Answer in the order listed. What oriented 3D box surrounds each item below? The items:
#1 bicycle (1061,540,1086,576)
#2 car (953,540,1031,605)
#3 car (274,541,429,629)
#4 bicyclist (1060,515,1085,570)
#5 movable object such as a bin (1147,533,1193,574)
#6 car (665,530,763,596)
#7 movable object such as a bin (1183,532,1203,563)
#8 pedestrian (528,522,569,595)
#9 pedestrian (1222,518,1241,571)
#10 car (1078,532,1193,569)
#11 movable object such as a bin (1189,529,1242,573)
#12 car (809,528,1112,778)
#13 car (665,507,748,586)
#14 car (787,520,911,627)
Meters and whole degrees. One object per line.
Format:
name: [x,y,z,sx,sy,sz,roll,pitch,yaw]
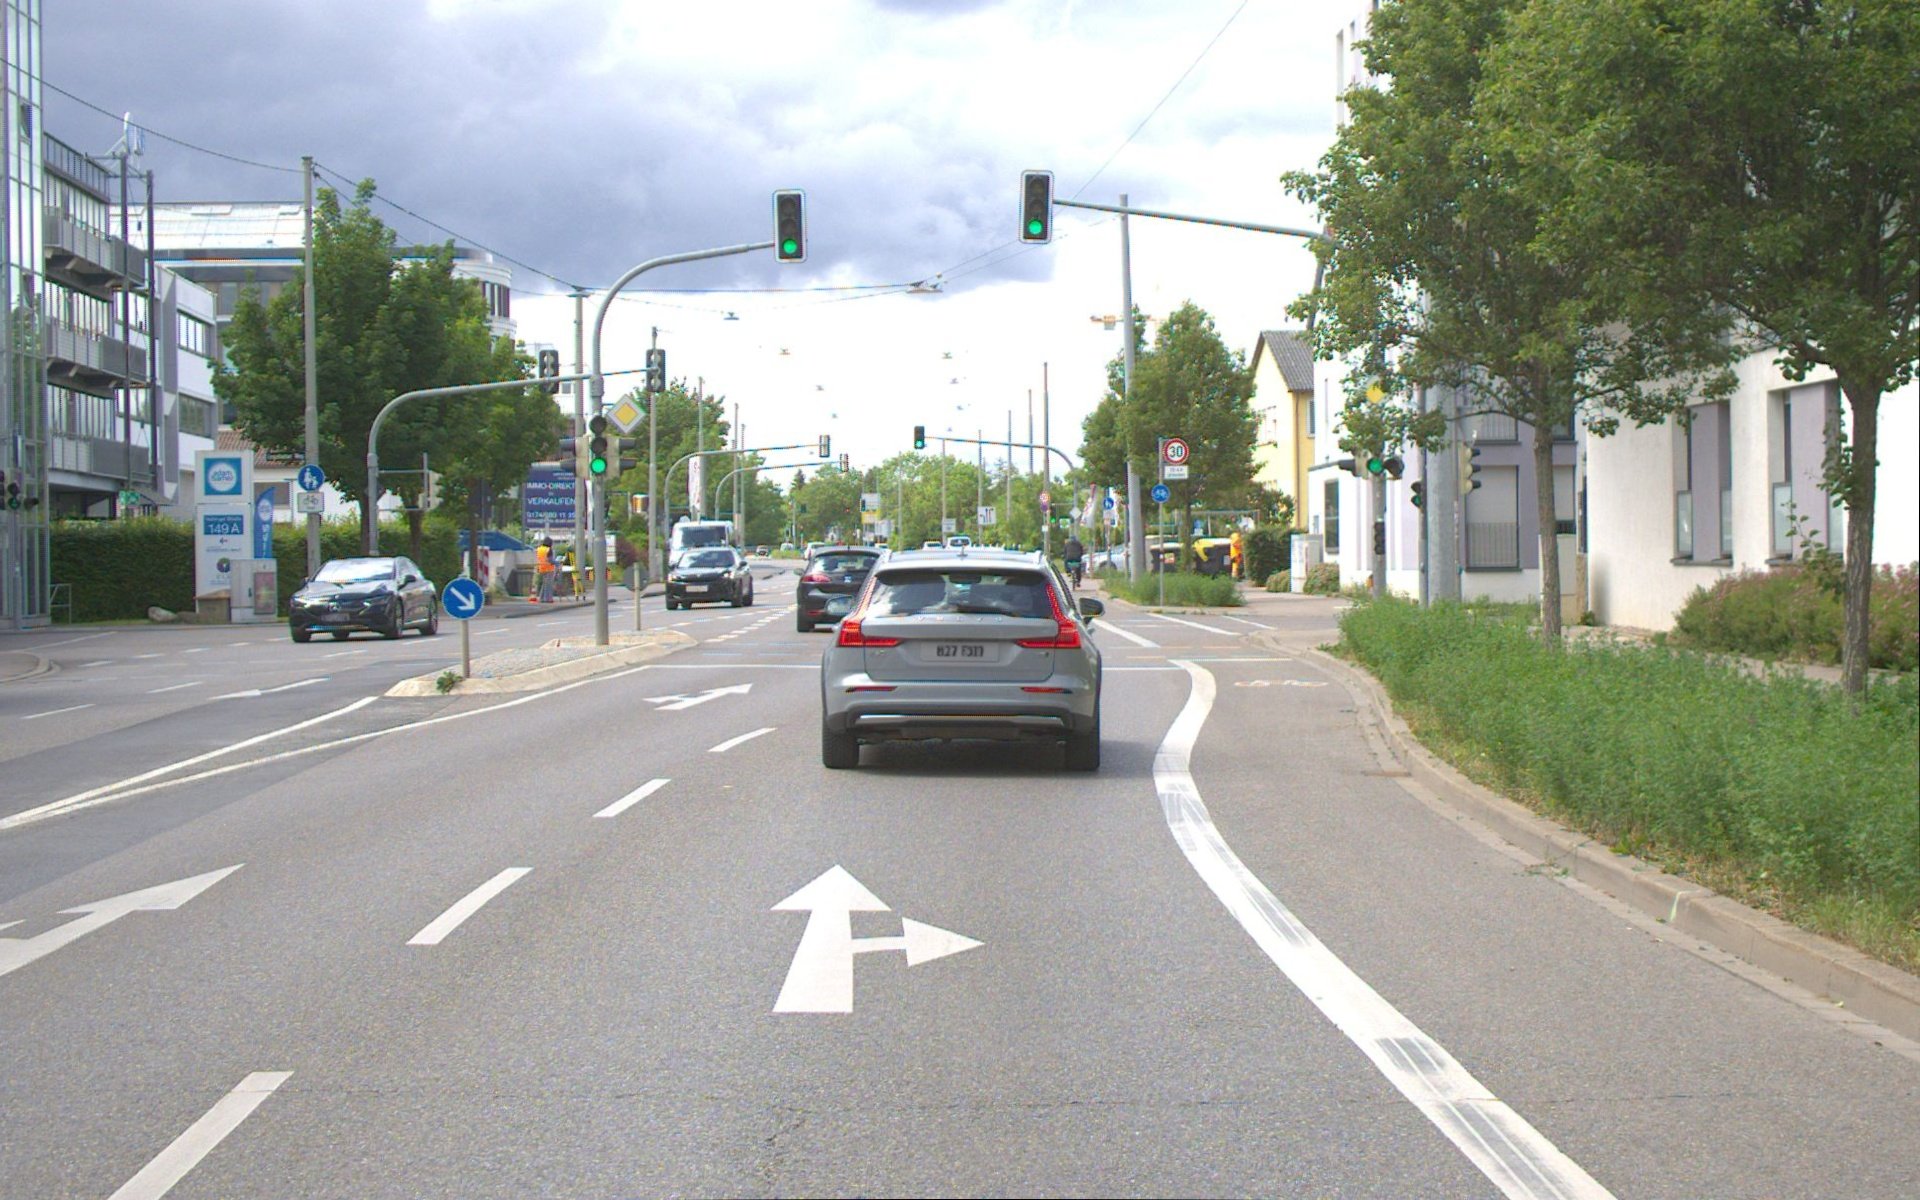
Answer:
bicycle: [3.554,-1.313,107.639,0.638,1.059,1.977,-4,1,0]
car: [0.859,-0.742,94.706,1.993,1.689,4.000,2,0,-1]
car: [-10.918,-0.276,61.983,2.024,1.440,5.050,-2,1,-2]
bicyclist: [3.514,-1.811,107.600,0.638,1.670,0.890,-4,1,0]
movable object such as a bin: [7.049,-1.552,115.370,1.320,1.356,1.250,-1,0,16]
car: [-6.083,-0.897,85.443,1.885,1.547,4.539,-2,0,2]
movable object such as a bin: [7.879,-1.771,116.268,0.567,1.023,0.405,-1,0,37]
pedestrian: [-11.439,-1.153,95.491,0.725,2.007,0.808,2,0,43]
pedestrian: [8.986,-1.832,113.706,0.507,1.759,0.500,2,0,16]
car: [7.340,-2.072,144.422,4.696,1.488,2.046,0,1,-1]
movable object such as a bin: [8.589,-1.644,115.681,1.322,1.430,1.248,-1,0,37]
car: [0.041,0.331,23.954,1.895,1.549,4.000,2,0,1]
car: [-8.334,-1.763,113.361,2.142,2.463,6.073,-2,1,1]
car: [-1.901,-0.443,58.205,1.993,1.711,4.000,2,0,-2]
